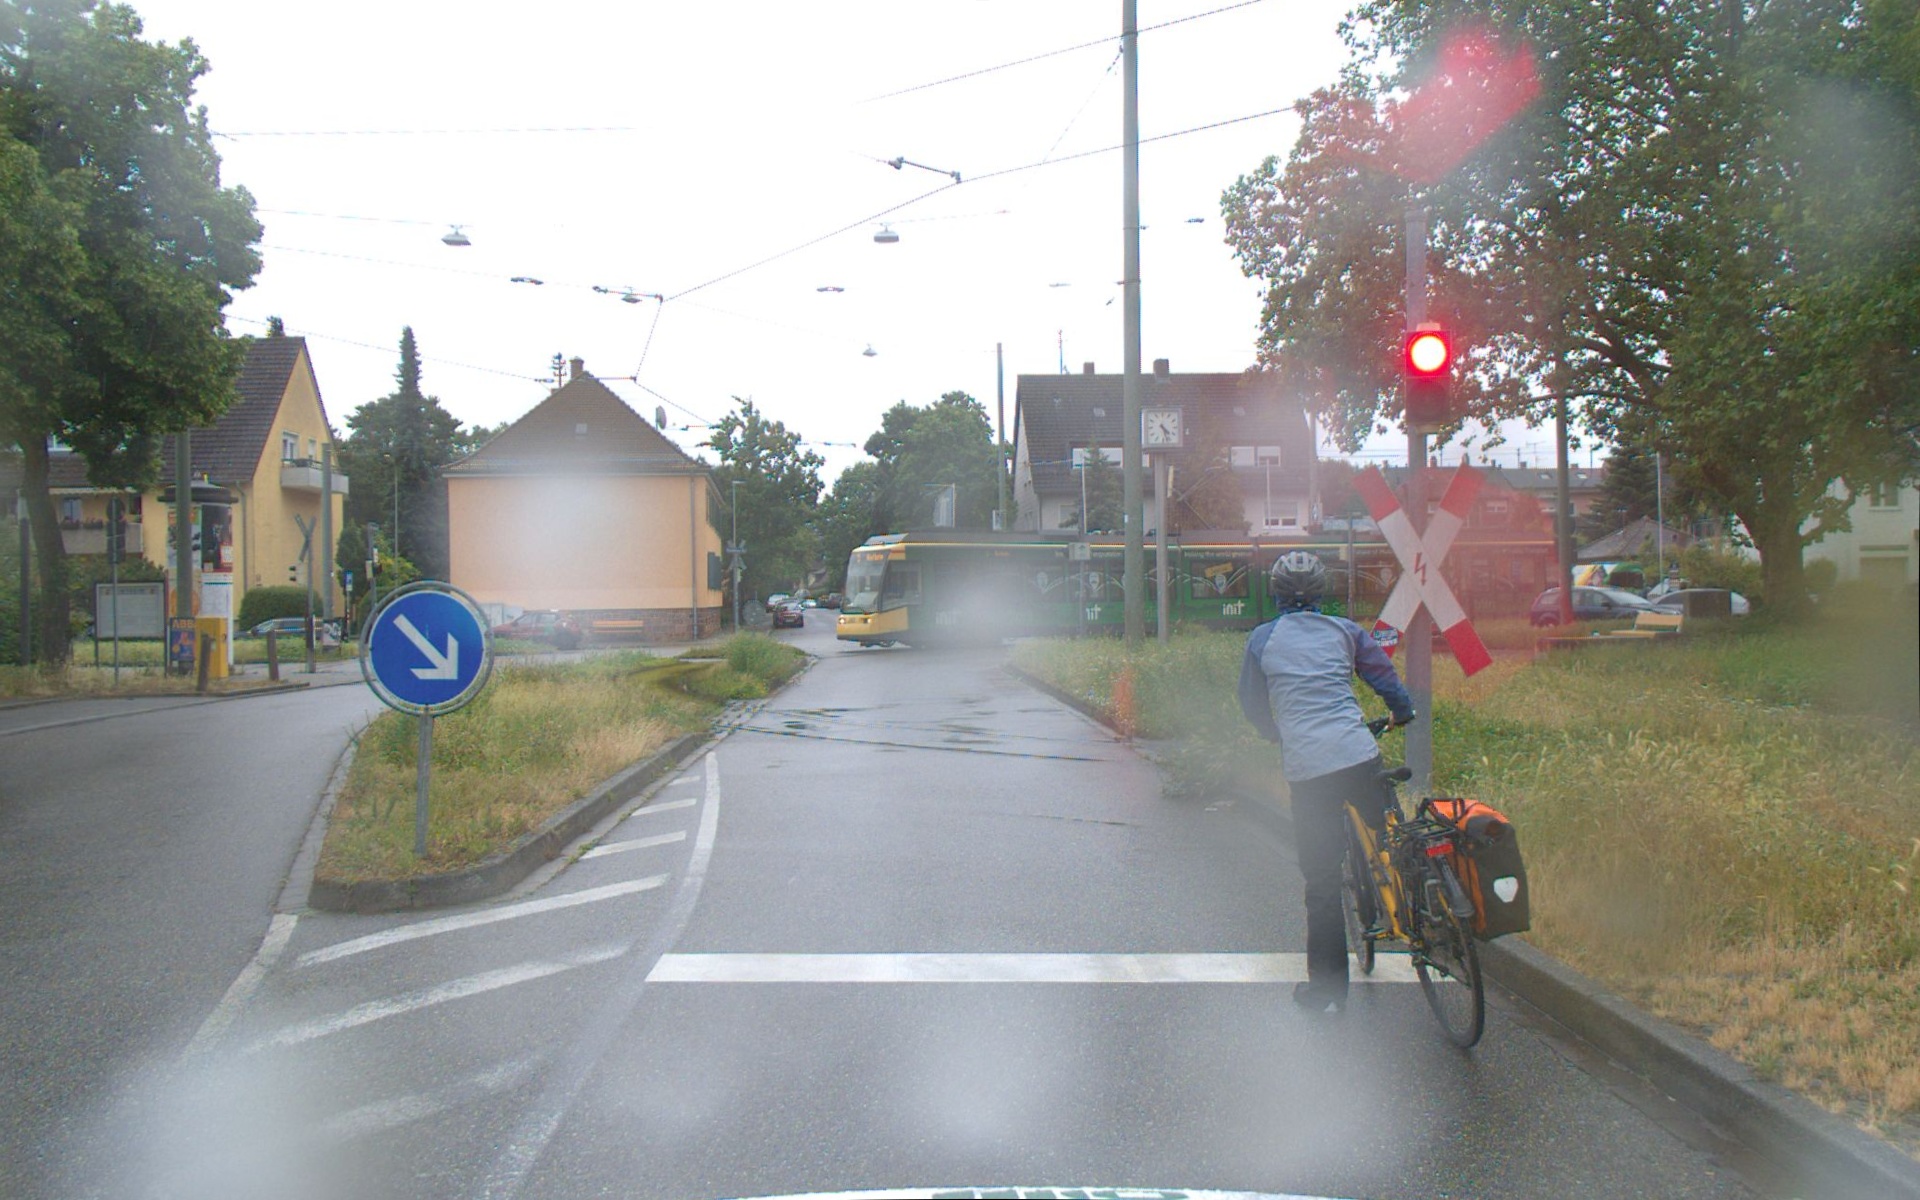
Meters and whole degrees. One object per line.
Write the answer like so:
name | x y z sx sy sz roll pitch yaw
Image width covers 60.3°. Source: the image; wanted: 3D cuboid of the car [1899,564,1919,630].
car | 28.145 -0.051 45.528 3.703 1.829 1.798 1 -1 43

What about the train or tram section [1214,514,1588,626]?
train or tram section | 15.488 -1.081 58.007 12.863 3.615 2.760 -1 0 -13

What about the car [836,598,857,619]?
car | -10.064 0.753 147.247 1.768 1.843 3.998 -1 0 -3

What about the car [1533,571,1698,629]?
car | 17.961 -0.010 45.429 3.848 1.522 1.798 1 -1 43

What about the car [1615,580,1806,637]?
car | 18.475 0.210 40.861 3.902 1.308 1.847 1 -1 6

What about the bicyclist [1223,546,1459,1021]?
bicyclist | 1.405 0.646 6.224 0.653 1.654 0.852 1 -1 -2

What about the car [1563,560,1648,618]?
car | 28.833 -0.469 74.027 1.953 2.485 4.352 1 0 -2

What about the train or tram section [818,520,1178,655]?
train or tram section | 1.452 -0.546 50.572 12.084 3.614 2.731 -3 2 -39

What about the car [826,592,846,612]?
car | -12.307 0.210 164.449 1.768 1.843 3.998 1 0 -3

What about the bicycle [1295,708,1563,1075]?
bicycle | 1.653 0.974 6.077 0.437 1.022 1.727 -1 0 -2

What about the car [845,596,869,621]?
car | -7.955 0.648 127.796 1.768 1.843 3.998 1 0 -3

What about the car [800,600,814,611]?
car | -21.519 0.733 233.391 1.768 1.486 3.998 1 0 -3

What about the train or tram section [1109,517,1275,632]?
train or tram section | 7.820 -0.898 55.575 4.927 3.614 2.738 -3 2 -33

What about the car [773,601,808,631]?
car | -9.786 0.930 95.544 1.768 1.680 3.998 1 0 -3

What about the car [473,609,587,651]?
car | -16.178 1.116 62.331 3.911 1.482 1.831 1 -1 -7

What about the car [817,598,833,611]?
car | -17.215 0.590 210.983 1.768 1.591 3.998 1 0 -3

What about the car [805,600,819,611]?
car | -20.417 0.713 228.116 1.768 1.486 3.998 1 0 -3
